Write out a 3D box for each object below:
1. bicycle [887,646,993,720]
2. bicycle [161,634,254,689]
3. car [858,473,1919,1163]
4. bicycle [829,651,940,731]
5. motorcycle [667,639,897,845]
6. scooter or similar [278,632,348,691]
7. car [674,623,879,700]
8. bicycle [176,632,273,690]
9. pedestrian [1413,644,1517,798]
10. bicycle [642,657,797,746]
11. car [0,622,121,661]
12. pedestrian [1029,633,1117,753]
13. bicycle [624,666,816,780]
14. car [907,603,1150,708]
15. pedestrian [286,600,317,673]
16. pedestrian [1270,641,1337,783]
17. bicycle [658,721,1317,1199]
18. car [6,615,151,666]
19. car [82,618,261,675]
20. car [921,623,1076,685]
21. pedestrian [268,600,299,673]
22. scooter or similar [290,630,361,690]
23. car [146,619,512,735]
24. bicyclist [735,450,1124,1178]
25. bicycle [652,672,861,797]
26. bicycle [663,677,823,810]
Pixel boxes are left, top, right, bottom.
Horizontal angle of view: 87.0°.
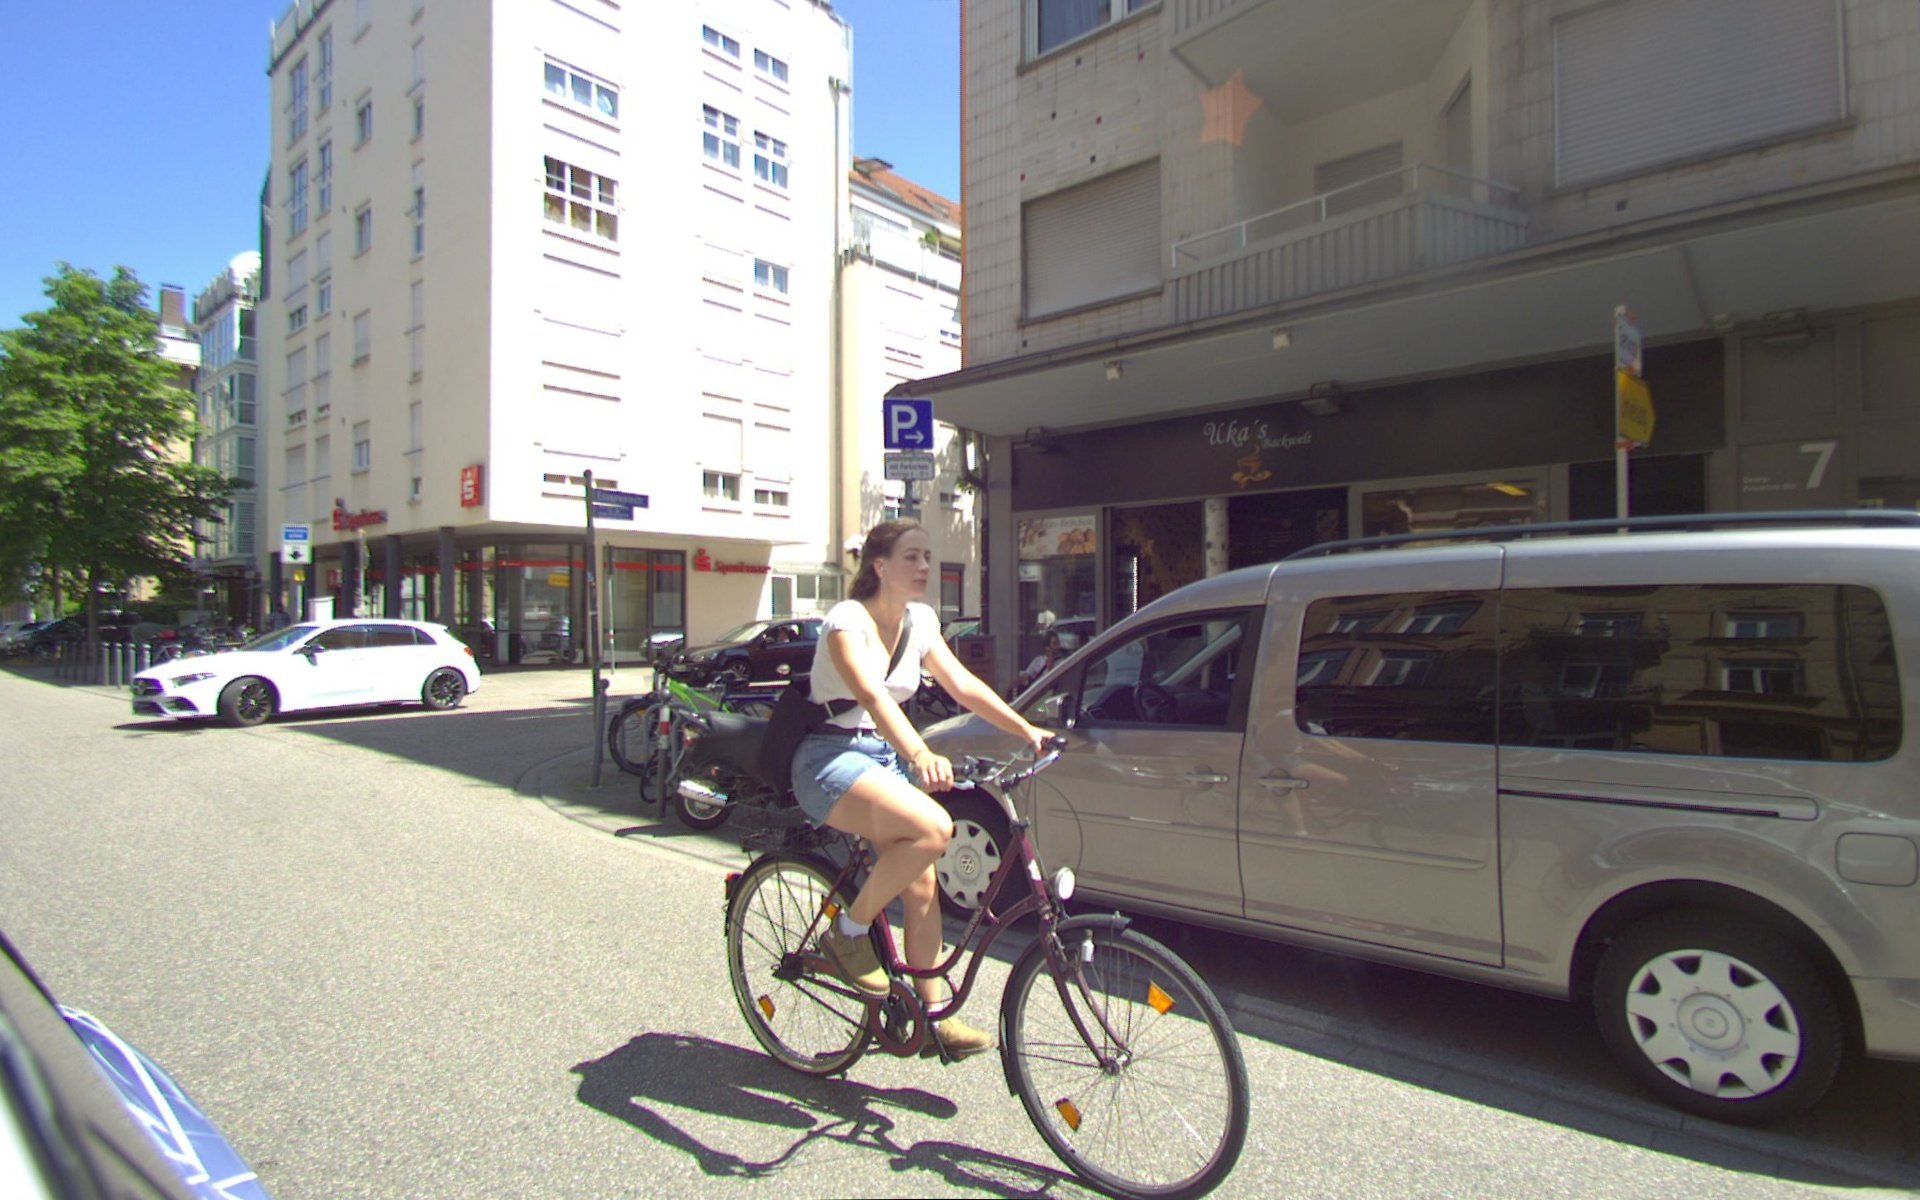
[{"bbox_3d":[-0.312,1.173,14.618,1.711,0.964,0.405,-1,0,42],"label":"bicycle"},{"bbox_3d":[-16.469,1.325,22.185,1.586,1.099,0.371,-2,0,-44],"label":"bicycle"},{"bbox_3d":[1.879,0.607,4.479,4.898,1.843,1.770,-1,-1,41],"label":"car"},{"bbox_3d":[-1.038,1.192,13.621,1.711,0.964,0.405,-1,0,42],"label":"bicycle"},{"bbox_3d":[-1.238,0.950,7.067,1.530,1.293,0.394,-1,1,-17],"label":"motorcycle"},{"bbox_3d":[-13.261,1.244,20.754,0.289,1.176,1.177,-1,-2,39],"label":"scooter or similar"},{"bbox_3d":[-3.725,1.197,20.930,3.834,1.436,1.816,1,-2,-45],"label":"car"},{"bbox_3d":[-15.331,1.256,21.109,1.586,1.099,0.371,-2,0,-44],"label":"bicycle"},{"bbox_3d":[3.952,0.922,7.936,0.491,1.135,0.510,0,-2,-21],"label":"pedestrian"},{"bbox_3d":[-2.734,1.143,11.537,1.692,0.964,0.409,-1,0,9],"label":"bicycle"},{"bbox_3d":[-36.574,1.644,40.912,1.651,1.507,3.835,-1,-2,40],"label":"car"},{"bbox_3d":[1.175,0.938,10.522,0.698,1.189,0.585,-1,-2,39],"label":"pedestrian"},{"bbox_3d":[-2.187,1.121,9.354,1.684,0.964,0.411,-1,0,-6],"label":"bicycle"},{"bbox_3d":[1.231,0.882,16.813,1.999,1.441,3.946,-5,-3,41],"label":"car"},{"bbox_3d":[-19.416,1.073,29.841,0.599,2.141,0.496,0,-1,-13],"label":"pedestrian"},{"bbox_3d":[2.897,0.923,8.533,0.505,1.135,0.496,-1,-2,21],"label":"pedestrian"},{"bbox_3d":[-0.057,0.979,2.878,1.939,1.100,0.596,-1,-2,41],"label":"bicycle"},{"bbox_3d":[-32.435,1.456,37.313,1.651,1.760,3.835,-1,-2,40],"label":"car"},{"bbox_3d":[-22.719,1.291,29.274,1.651,1.540,3.835,-1,-2,40],"label":"car"},{"bbox_3d":[1.032,1.306,25.641,3.834,1.436,1.816,1,-2,-45],"label":"car"},{"bbox_3d":[-20.257,1.090,30.302,0.605,2.141,0.492,-1,-2,22],"label":"pedestrian"},{"bbox_3d":[-12.858,1.194,20.529,0.289,1.176,1.177,-1,-2,39],"label":"scooter or similar"},{"bbox_3d":[-9.009,0.999,14.802,1.811,1.436,4.192,-1,-2,34],"label":"car"},{"bbox_3d":[-0.110,0.513,2.960,0.978,1.719,0.616,-2,-2,41],"label":"bicyclist"},{"bbox_3d":[-1.696,1.119,8.566,1.684,0.964,0.411,-1,0,-6],"label":"bicycle"},{"bbox_3d":[-1.690,1.114,7.950,1.194,0.964,0.337,-1,0,-6],"label":"bicycle"}]
